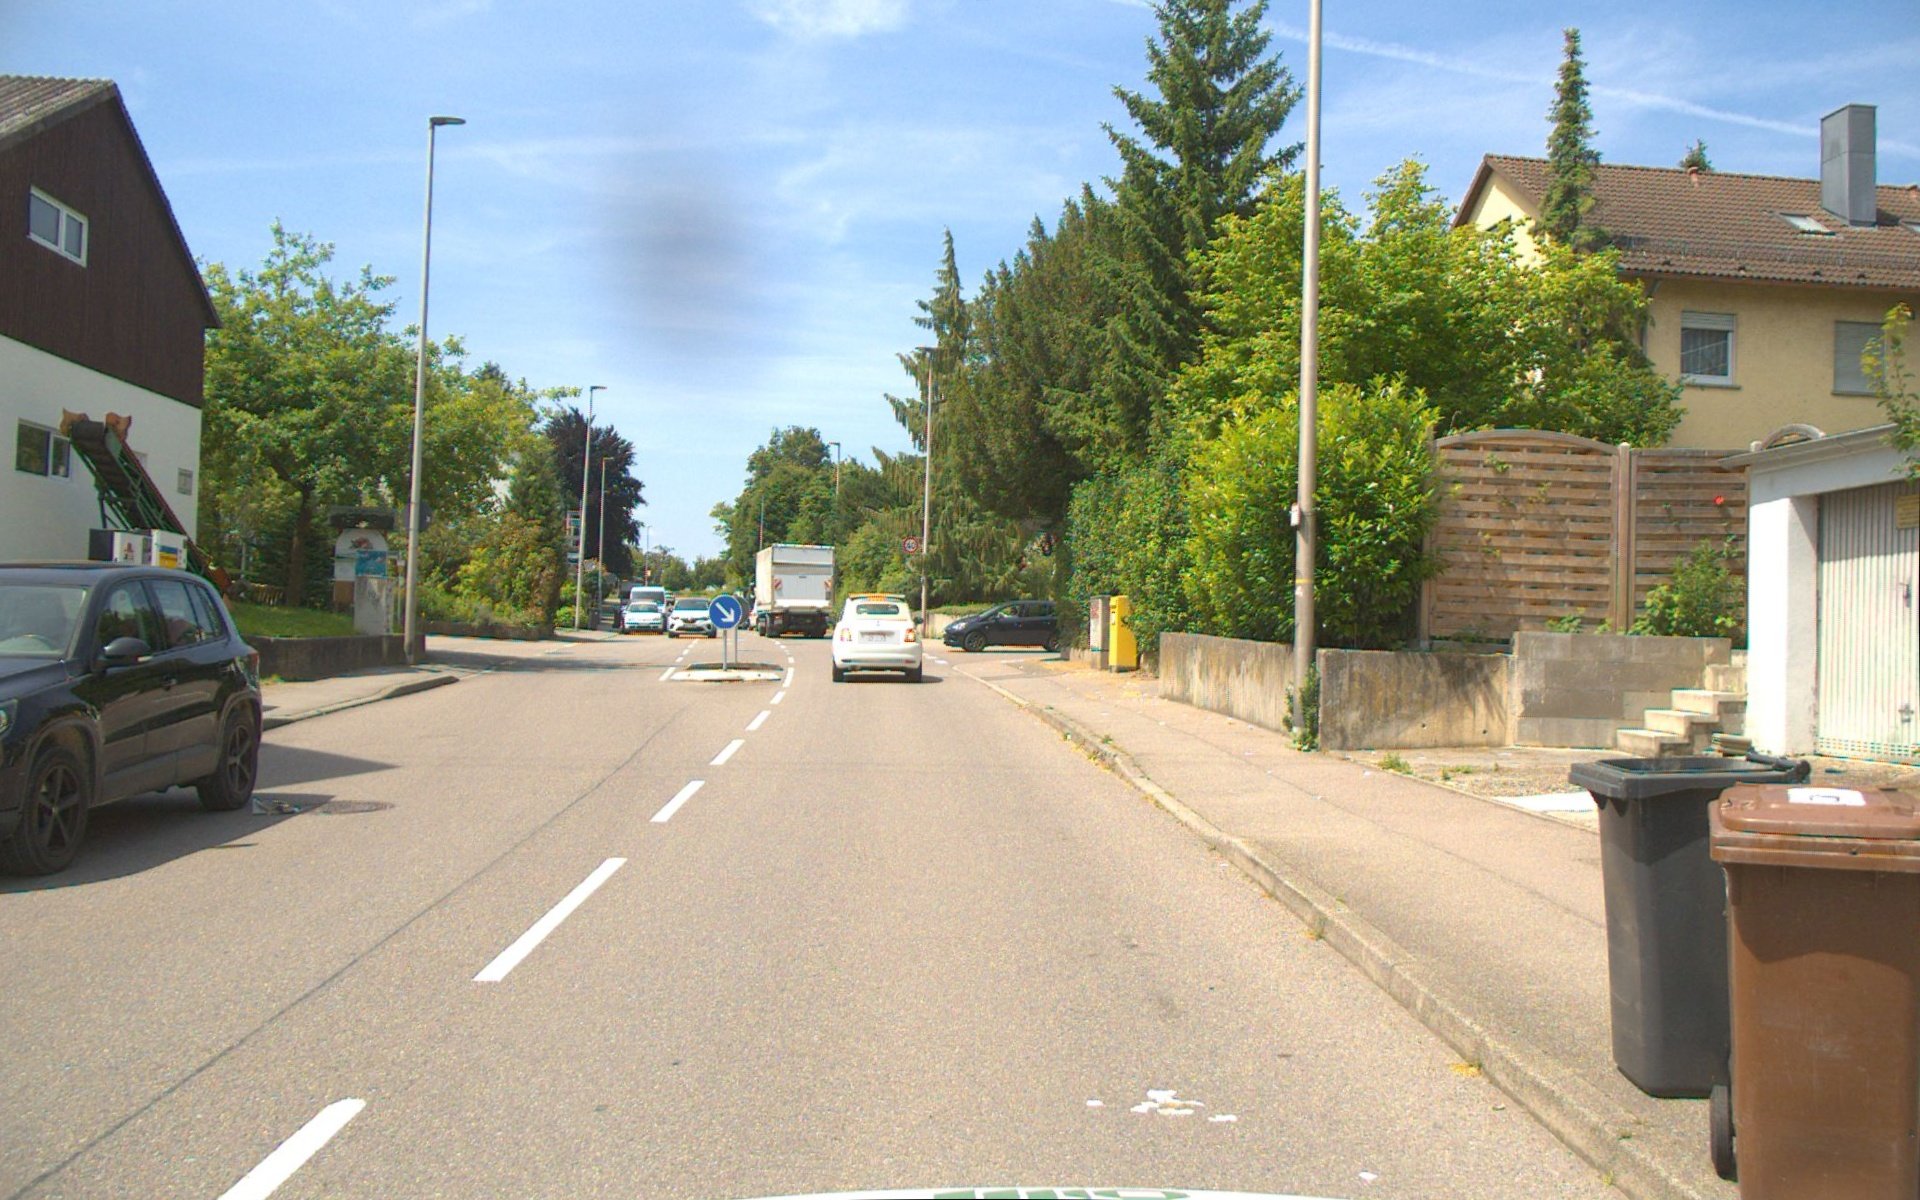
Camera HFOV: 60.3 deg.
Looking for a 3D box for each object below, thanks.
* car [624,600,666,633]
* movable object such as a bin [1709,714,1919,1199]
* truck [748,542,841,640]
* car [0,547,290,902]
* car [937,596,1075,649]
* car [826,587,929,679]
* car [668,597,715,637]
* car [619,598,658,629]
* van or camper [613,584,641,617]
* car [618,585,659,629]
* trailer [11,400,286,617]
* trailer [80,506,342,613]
[{"bbox_3d":[-14.333,0.737,75.073,1.773,1.422,3.988,1,0,-12],"label":"car"},{"bbox_3d":[1.992,0.809,3.719,0.484,1.051,0.548,-3,0,21],"label":"movable object such as a bin"},{"bbox_3d":[-7.021,-0.329,69.161,3.015,3.840,7.843,1,-1,-12],"label":"truck"},{"bbox_3d":[-5.535,0.573,9.748,1.734,1.664,4.283,0,0,-5],"label":"car"},{"bbox_3d":[1.320,0.650,48.474,3.858,1.483,1.656,1,0,-7],"label":"car"},{"bbox_3d":[-1.588,0.575,30.626,1.692,1.587,3.995,0,0,-6],"label":"car"},{"bbox_3d":[-10.838,0.683,66.900,1.749,1.556,4.163,0,-1,-8],"label":"car"},{"bbox_3d":[-15.679,0.645,80.558,1.773,1.422,3.956,1,0,-12],"label":"car"},{"bbox_3d":[-32.218,0.025,159.984,2.223,3.014,5.877,2,0,-8],"label":"van or camper"},{"bbox_3d":[-17.220,0.356,88.383,2.001,2.238,5.565,1,0,-12],"label":"car"},{"bbox_3d":[-12.297,-1.252,25.615,1.679,2.898,6.166,2,0,-6],"label":"trailer"},{"bbox_3d":[-14.348,-0.755,31.791,3.621,1.721,2.764,4,-1,22],"label":"trailer"}]
